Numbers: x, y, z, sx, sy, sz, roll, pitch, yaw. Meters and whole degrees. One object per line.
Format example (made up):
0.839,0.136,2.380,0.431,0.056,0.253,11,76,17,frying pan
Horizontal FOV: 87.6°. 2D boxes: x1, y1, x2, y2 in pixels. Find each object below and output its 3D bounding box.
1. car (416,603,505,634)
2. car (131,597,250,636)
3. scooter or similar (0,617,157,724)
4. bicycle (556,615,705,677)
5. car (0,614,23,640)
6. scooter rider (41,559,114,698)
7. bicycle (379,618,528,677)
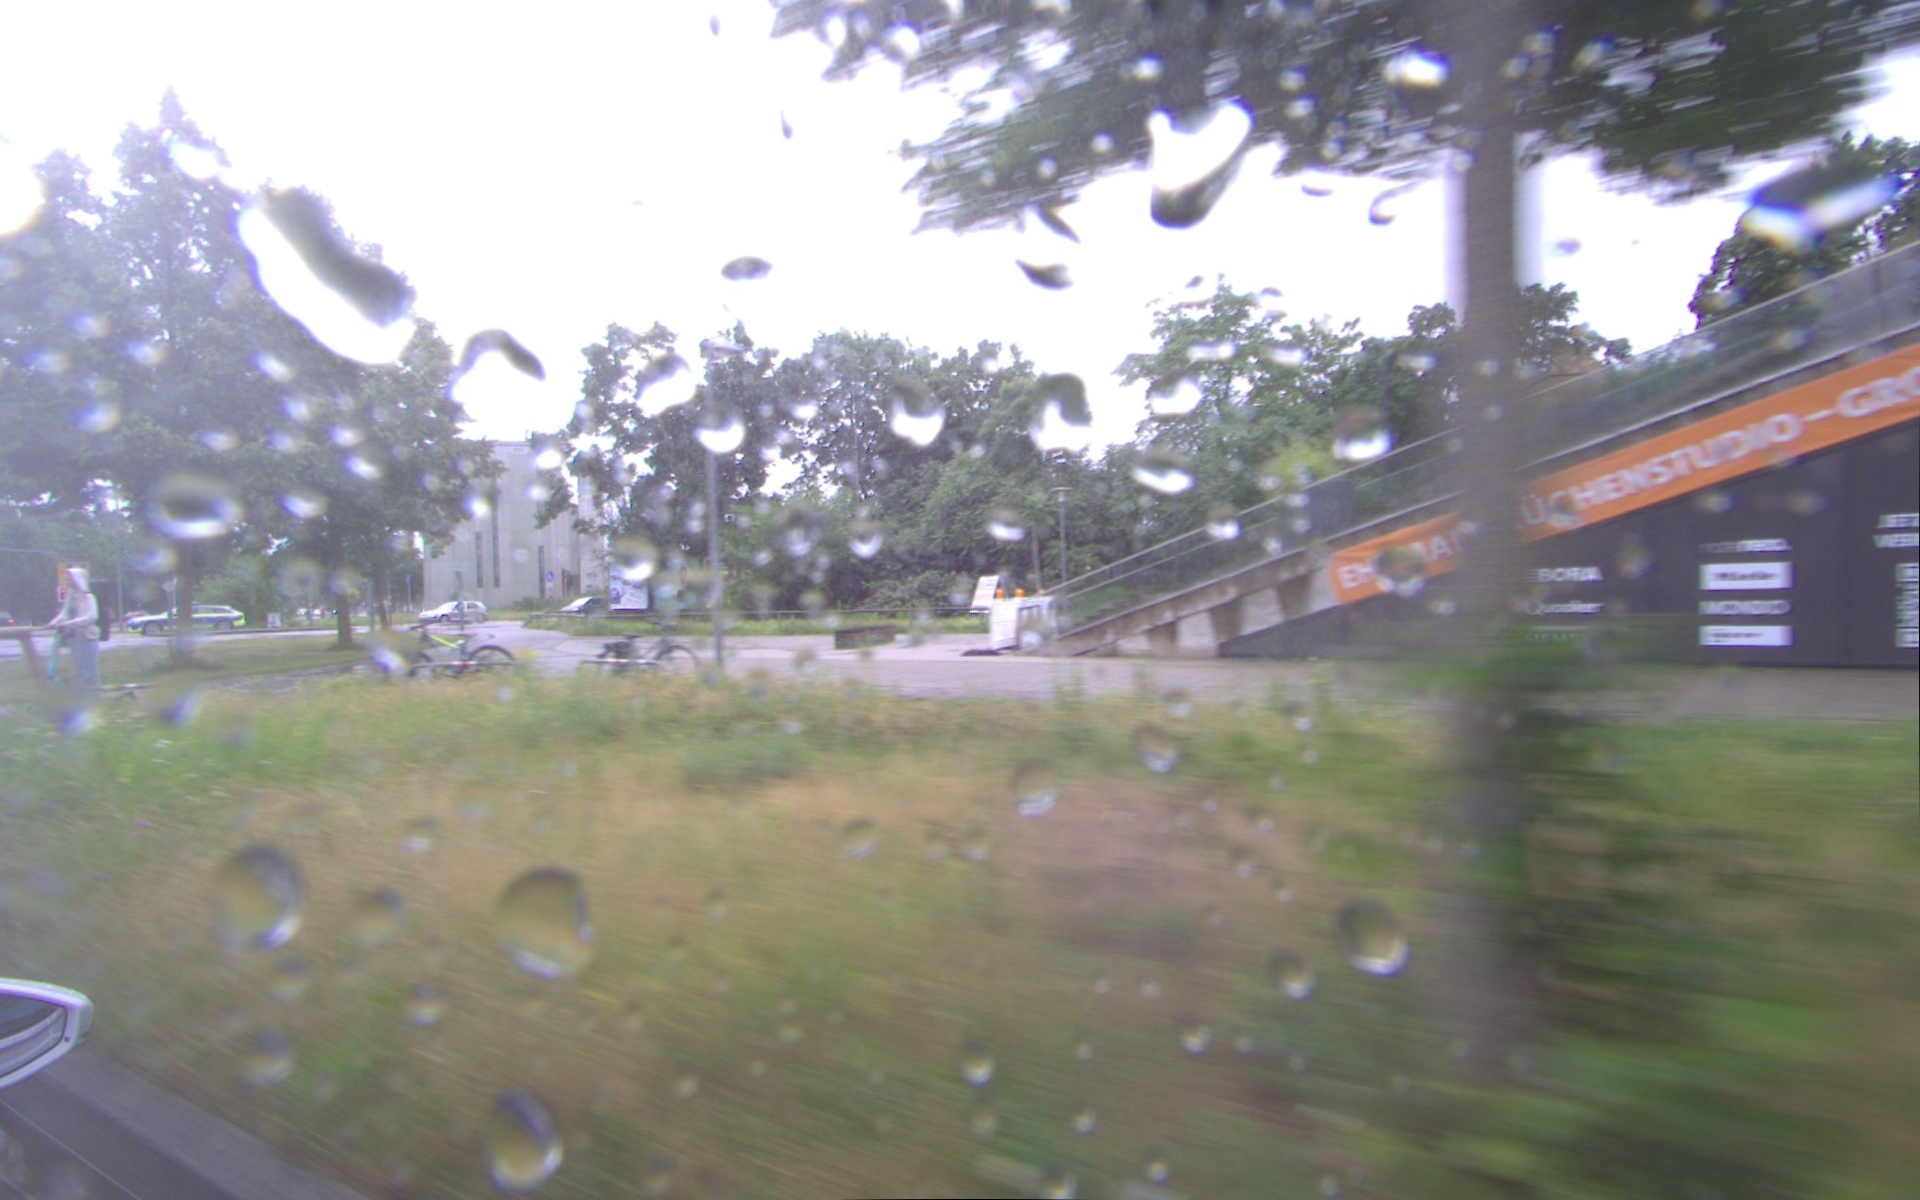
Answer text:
-31.471,1.189,63.240,1.972,1.874,4.752,-1,-2,33,car
-39.547,0.811,51.530,4.726,1.876,1.981,-1,0,-43,car
-11.235,0.869,12.704,0.440,1.275,1.585,-1,-2,26,scooter or similar
-4.394,0.618,13.340,1.972,0.797,0.454,-1,-2,16,bicycle
-56.312,1.566,58.863,3.946,1.473,1.608,0,0,45,car
-11.213,0.353,12.731,0.427,1.732,0.530,0,2,26,scooter rider
-6.920,0.646,13.704,1.823,0.797,0.380,0,-1,-2,bicycle
